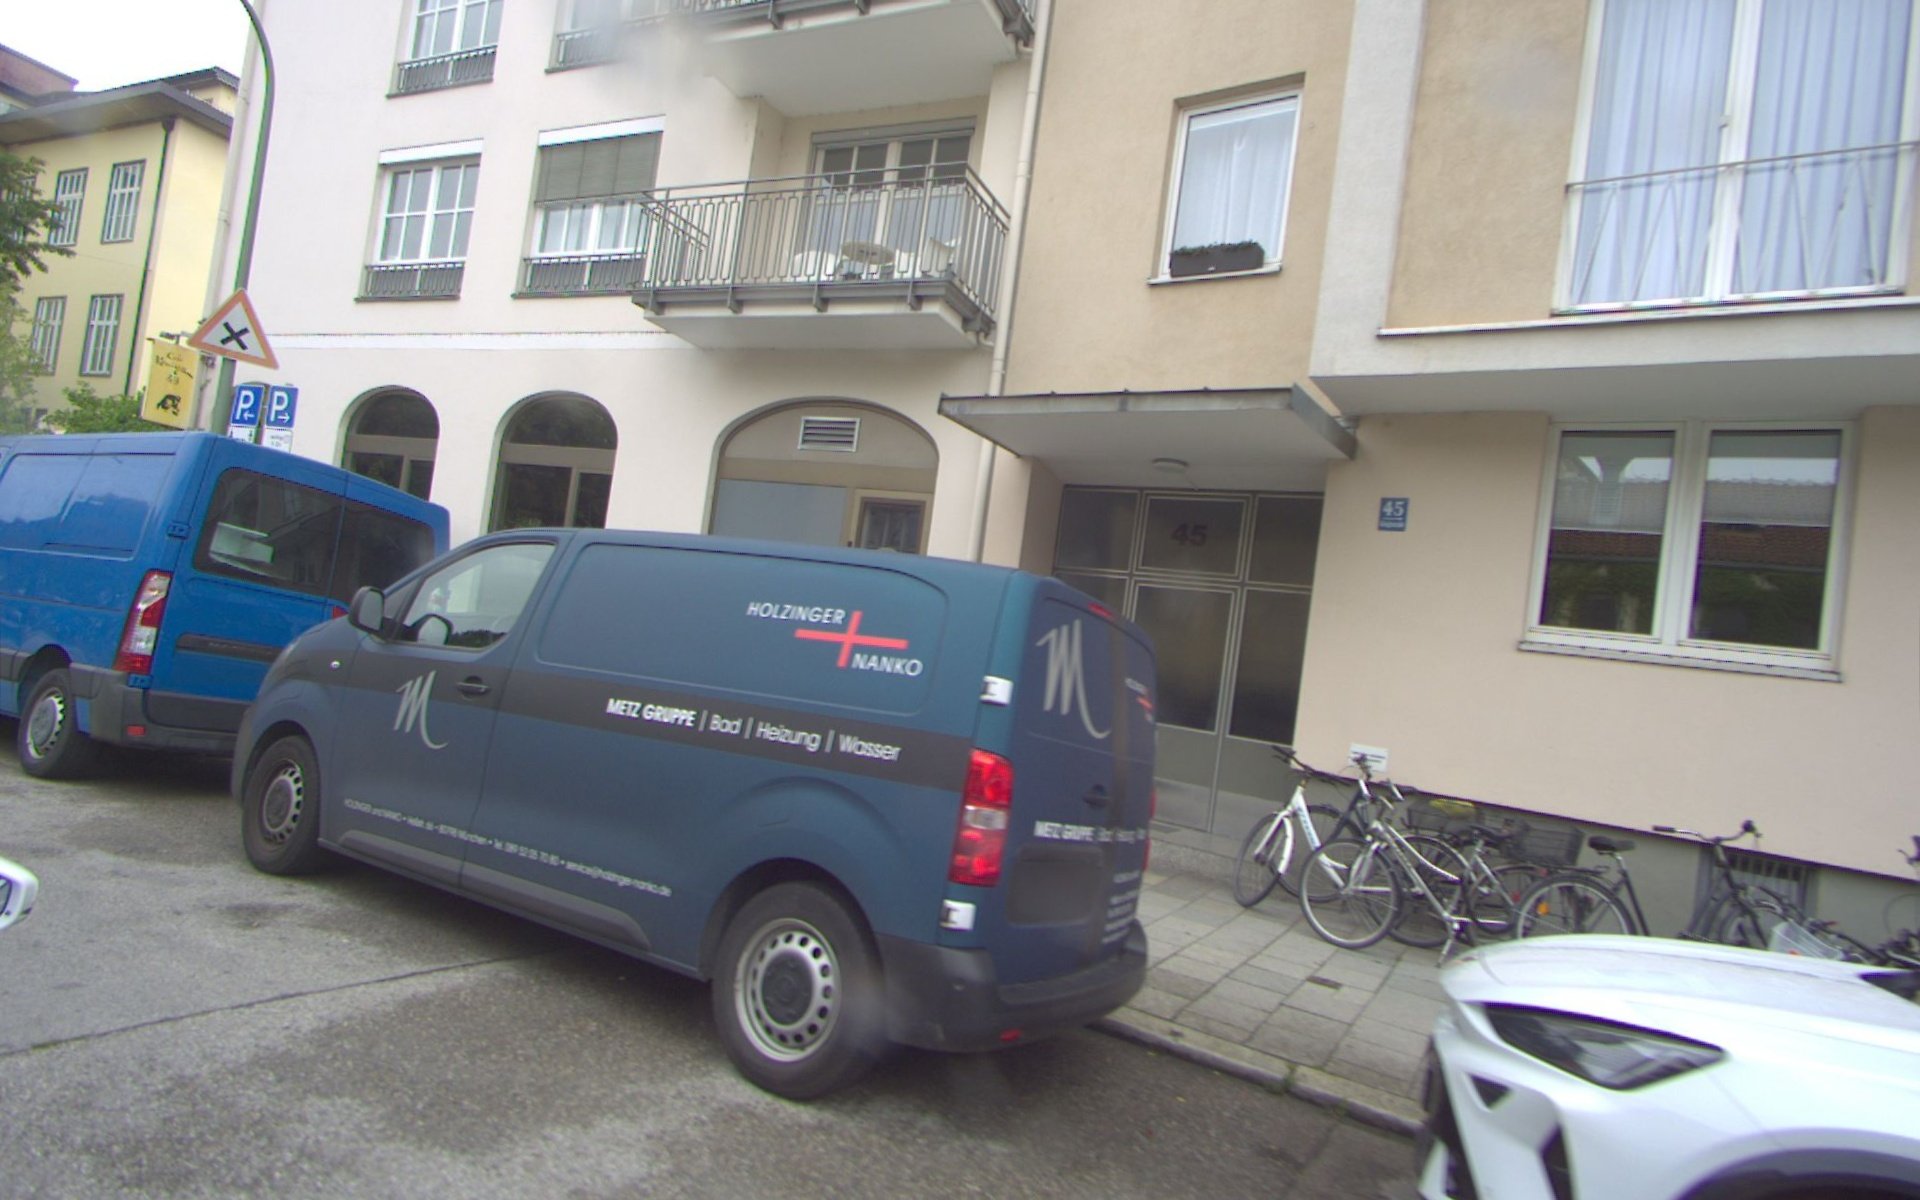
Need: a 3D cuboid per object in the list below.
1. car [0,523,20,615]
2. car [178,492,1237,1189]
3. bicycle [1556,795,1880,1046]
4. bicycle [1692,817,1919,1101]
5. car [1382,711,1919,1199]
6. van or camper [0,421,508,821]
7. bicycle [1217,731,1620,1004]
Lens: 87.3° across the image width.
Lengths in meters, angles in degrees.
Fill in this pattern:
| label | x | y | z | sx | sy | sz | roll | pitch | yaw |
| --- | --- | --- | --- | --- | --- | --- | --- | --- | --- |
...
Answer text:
| label | x | y | z | sx | sy | sz | roll | pitch | yaw |
| --- | --- | --- | --- | --- | --- | --- | --- | --- | --- |
| car | -11.895 | -0.321 | 10.474 | 3.890 | 1.532 | 1.712 | 6 | -6 | 28 |
| car | -1.409 | 0.690 | 4.952 | 4.853 | 1.834 | 1.972 | 6 | -6 | 30 |
| bicycle | 4.372 | 1.833 | 5.850 | 1.383 | 1.146 | 0.534 | 7 | -1 | -2 |
| bicycle | 4.711 | 1.815 | 5.086 | 1.404 | 1.146 | 0.720 | 7 | -2 | -2 |
| car | 3.250 | 1.367 | 2.106 | 4.200 | 1.552 | 1.747 | 6 | -7 | 28 |
| van or camper | -6.355 | 0.046 | 7.793 | 5.344 | 2.252 | 2.070 | 6 | -6 | 28 |
| bicycle | 3.007 | 1.634 | 6.697 | 2.171 | 1.200 | 1.149 | 6 | -3 | 32 |
